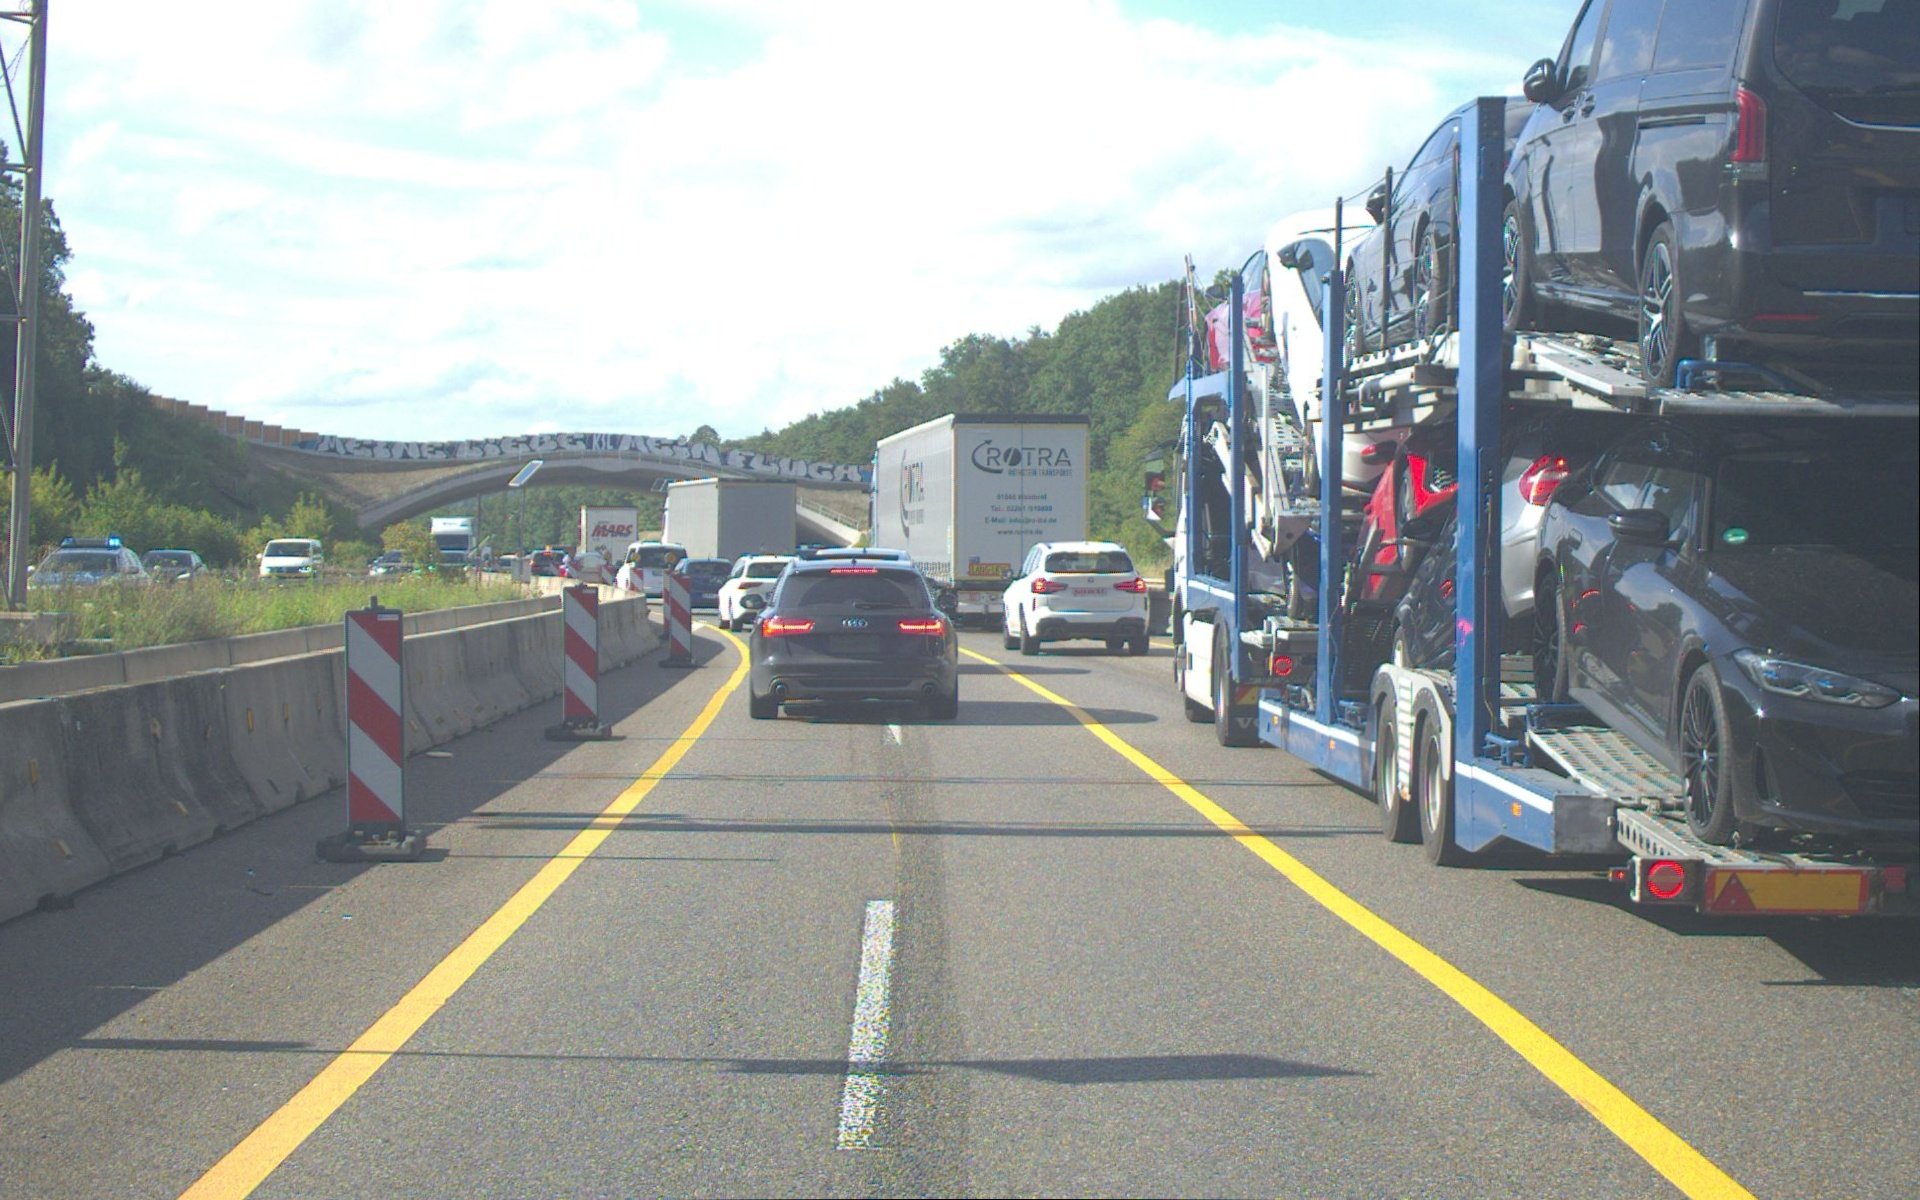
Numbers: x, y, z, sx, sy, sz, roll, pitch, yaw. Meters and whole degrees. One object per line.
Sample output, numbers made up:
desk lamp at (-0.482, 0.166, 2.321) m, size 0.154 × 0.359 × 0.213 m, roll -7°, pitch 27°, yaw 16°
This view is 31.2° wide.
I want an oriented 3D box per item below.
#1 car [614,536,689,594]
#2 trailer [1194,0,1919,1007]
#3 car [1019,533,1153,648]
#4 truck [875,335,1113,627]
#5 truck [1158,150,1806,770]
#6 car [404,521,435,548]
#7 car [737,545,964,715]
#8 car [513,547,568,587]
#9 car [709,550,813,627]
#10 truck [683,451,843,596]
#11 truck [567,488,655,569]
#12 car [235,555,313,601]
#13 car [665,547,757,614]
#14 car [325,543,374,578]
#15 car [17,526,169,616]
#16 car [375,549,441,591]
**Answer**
car at (-9.050, -1.024, 100.719) m, size 1.890 × 1.638 × 4.019 m, roll 1°, pitch 1°, yaw -9°
trailer at (3.902, -0.891, 19.091) m, size 3.726 × 4.182 × 16.228 m, roll 1°, pitch 1°, yaw -1°
car at (1.859, -0.165, 51.654) m, size 1.890 × 1.638 × 4.018 m, roll 1°, pitch 1°, yaw 1°
truck at (0.422, -2.299, 71.423) m, size 3.677 × 5.335 × 16.204 m, roll 1°, pitch 1°, yaw -4°
truck at (3.796, -1.005, 27.449) m, size 3.761 × 4.182 × 7.951 m, roll 1°, pitch 1°, yaw -1°
car at (-37.870, -4.571, 240.836) m, size 1.780 × 1.860 × 4.001 m, roll 1°, pitch 1°, yaw -4°
car at (-0.943, 0.229, 31.573) m, size 1.890 × 1.441 × 4.000 m, roll 1°, pitch 1°, yaw 1°
car at (-17.141, -1.368, 140.428) m, size 1.777 × 1.597 × 4.019 m, roll 1°, pitch 1°, yaw -13°
car at (-3.893, -0.243, 66.646) m, size 1.890 × 1.441 × 4.001 m, roll 1°, pitch 1°, yaw -5°
truck at (-6.724, -2.513, 115.289) m, size 4.318 × 4.584 × 11.128 m, roll 1°, pitch 1°, yaw -9°
truck at (-17.576, -3.558, 172.462) m, size 3.653 × 3.915 × 11.070 m, roll 1°, pitch 1°, yaw -9°
car at (-24.496, -0.813, 122.881) m, size 1.968 × 1.597 × 4.948 m, roll 1°, pitch 1°, yaw -2°
car at (-6.356, -0.503, 87.395) m, size 1.890 × 1.638 × 4.019 m, roll 1°, pitch 1°, yaw -10°
car at (-29.203, -1.904, 164.634) m, size 1.968 × 1.597 × 4.948 m, roll 1°, pitch 1°, yaw -6°
car at (-15.965, -0.549, 63.527) m, size 1.778 × 1.597 × 4.677 m, roll 1°, pitch 1°, yaw -2°
car at (-21.480, -1.184, 133.921) m, size 1.968 × 1.597 × 4.948 m, roll 1°, pitch 1°, yaw -2°
